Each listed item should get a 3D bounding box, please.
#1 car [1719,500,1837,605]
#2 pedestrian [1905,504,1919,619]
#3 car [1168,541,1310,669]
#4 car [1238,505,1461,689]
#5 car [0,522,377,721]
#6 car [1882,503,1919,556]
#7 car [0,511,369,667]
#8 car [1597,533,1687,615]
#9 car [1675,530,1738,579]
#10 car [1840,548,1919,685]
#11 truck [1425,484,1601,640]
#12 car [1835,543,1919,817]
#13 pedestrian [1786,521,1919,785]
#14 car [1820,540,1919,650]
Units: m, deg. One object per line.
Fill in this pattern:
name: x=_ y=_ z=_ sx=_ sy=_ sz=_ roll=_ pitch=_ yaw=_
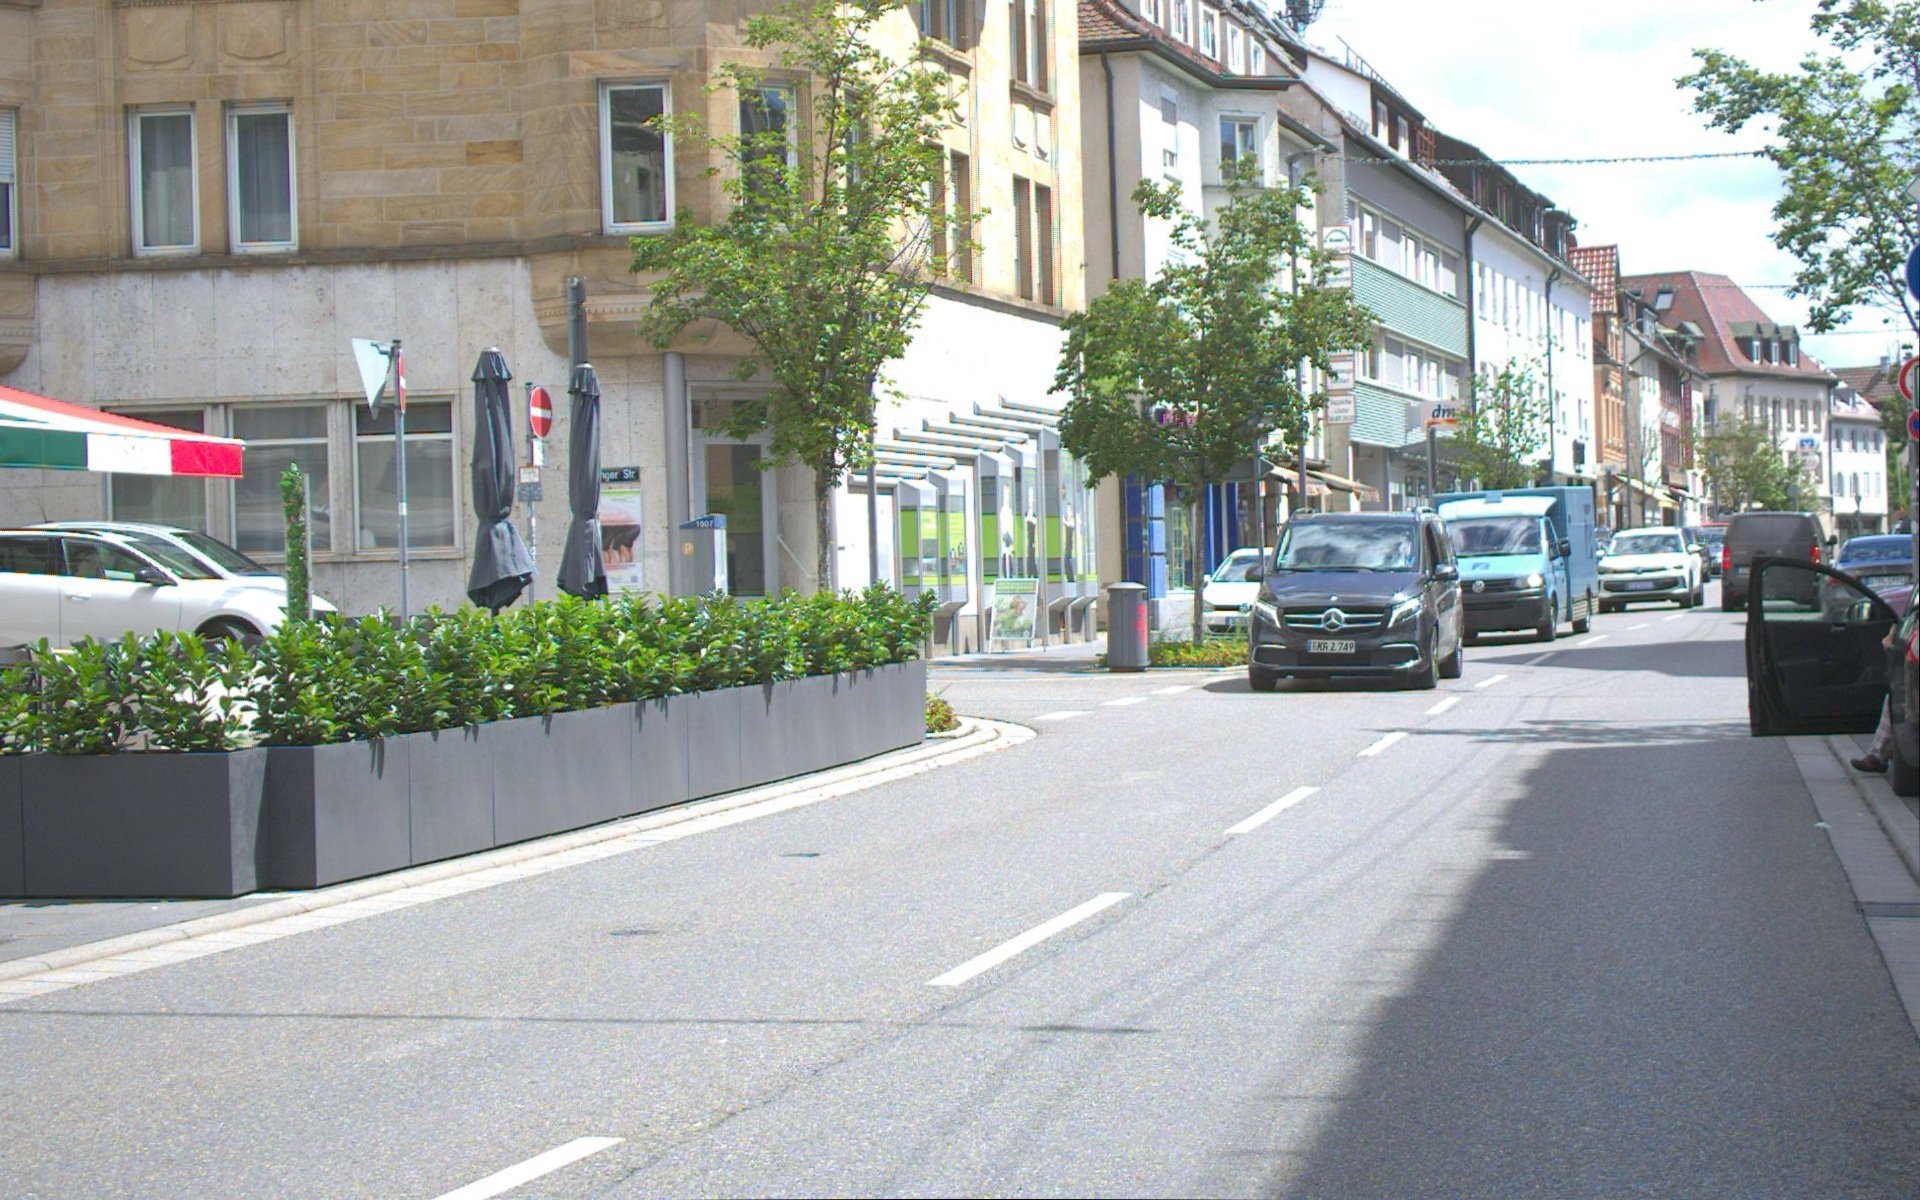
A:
car: x=15.665 y=-0.929 z=65.676 sx=1.973 sy=1.869 sz=5.034 roll=-1 pitch=1 yaw=16
pedestrian: x=16.983 y=-0.681 z=60.447 sx=0.683 sy=2.007 sz=0.598 roll=0 pitch=1 yaw=17
car: x=4.025 y=0.041 z=49.097 sx=1.710 sy=1.706 sz=3.999 roll=-1 pitch=1 yaw=9
car: x=4.220 y=-0.056 z=36.626 sx=1.836 sy=1.828 sz=4.567 roll=-1 pitch=1 yaw=13
car: x=-7.858 y=0.193 z=32.465 sx=4.418 sy=1.769 sz=2.000 roll=-1 pitch=1 yaw=-3
car: x=42.399 y=-3.140 z=153.291 sx=2.067 sy=2.293 sz=4.220 roll=1 pitch=0 yaw=21
car: x=-8.837 y=-0.124 z=38.404 sx=3.988 sy=1.656 sz=1.908 roll=-1 pitch=1 yaw=8
car: x=13.649 y=-0.532 z=68.717 sx=1.698 sy=1.579 sz=3.956 roll=-1 pitch=1 yaw=12
car: x=25.231 y=-1.538 z=116.280 sx=1.994 sy=1.579 sz=3.998 roll=-1 pitch=1 yaw=12
car: x=11.153 y=0.179 z=36.117 sx=3.623 sy=1.408 sz=1.589 roll=0 pitch=0 yaw=12
truck: x=8.278 y=-0.591 z=51.124 sx=2.067 sy=2.158 sz=5.291 roll=-1 pitch=1 yaw=14
car: x=6.184 y=0.379 z=20.237 sx=1.606 sy=1.429 sz=4.173 roll=-1 pitch=1 yaw=9
pedestrian: x=5.580 y=0.317 z=21.204 sx=0.676 sy=1.588 sz=0.666 roll=0 pitch=0 yaw=-40
car: x=12.798 y=-0.093 z=47.767 sx=1.521 sy=1.429 sz=3.368 roll=-1 pitch=1 yaw=13
